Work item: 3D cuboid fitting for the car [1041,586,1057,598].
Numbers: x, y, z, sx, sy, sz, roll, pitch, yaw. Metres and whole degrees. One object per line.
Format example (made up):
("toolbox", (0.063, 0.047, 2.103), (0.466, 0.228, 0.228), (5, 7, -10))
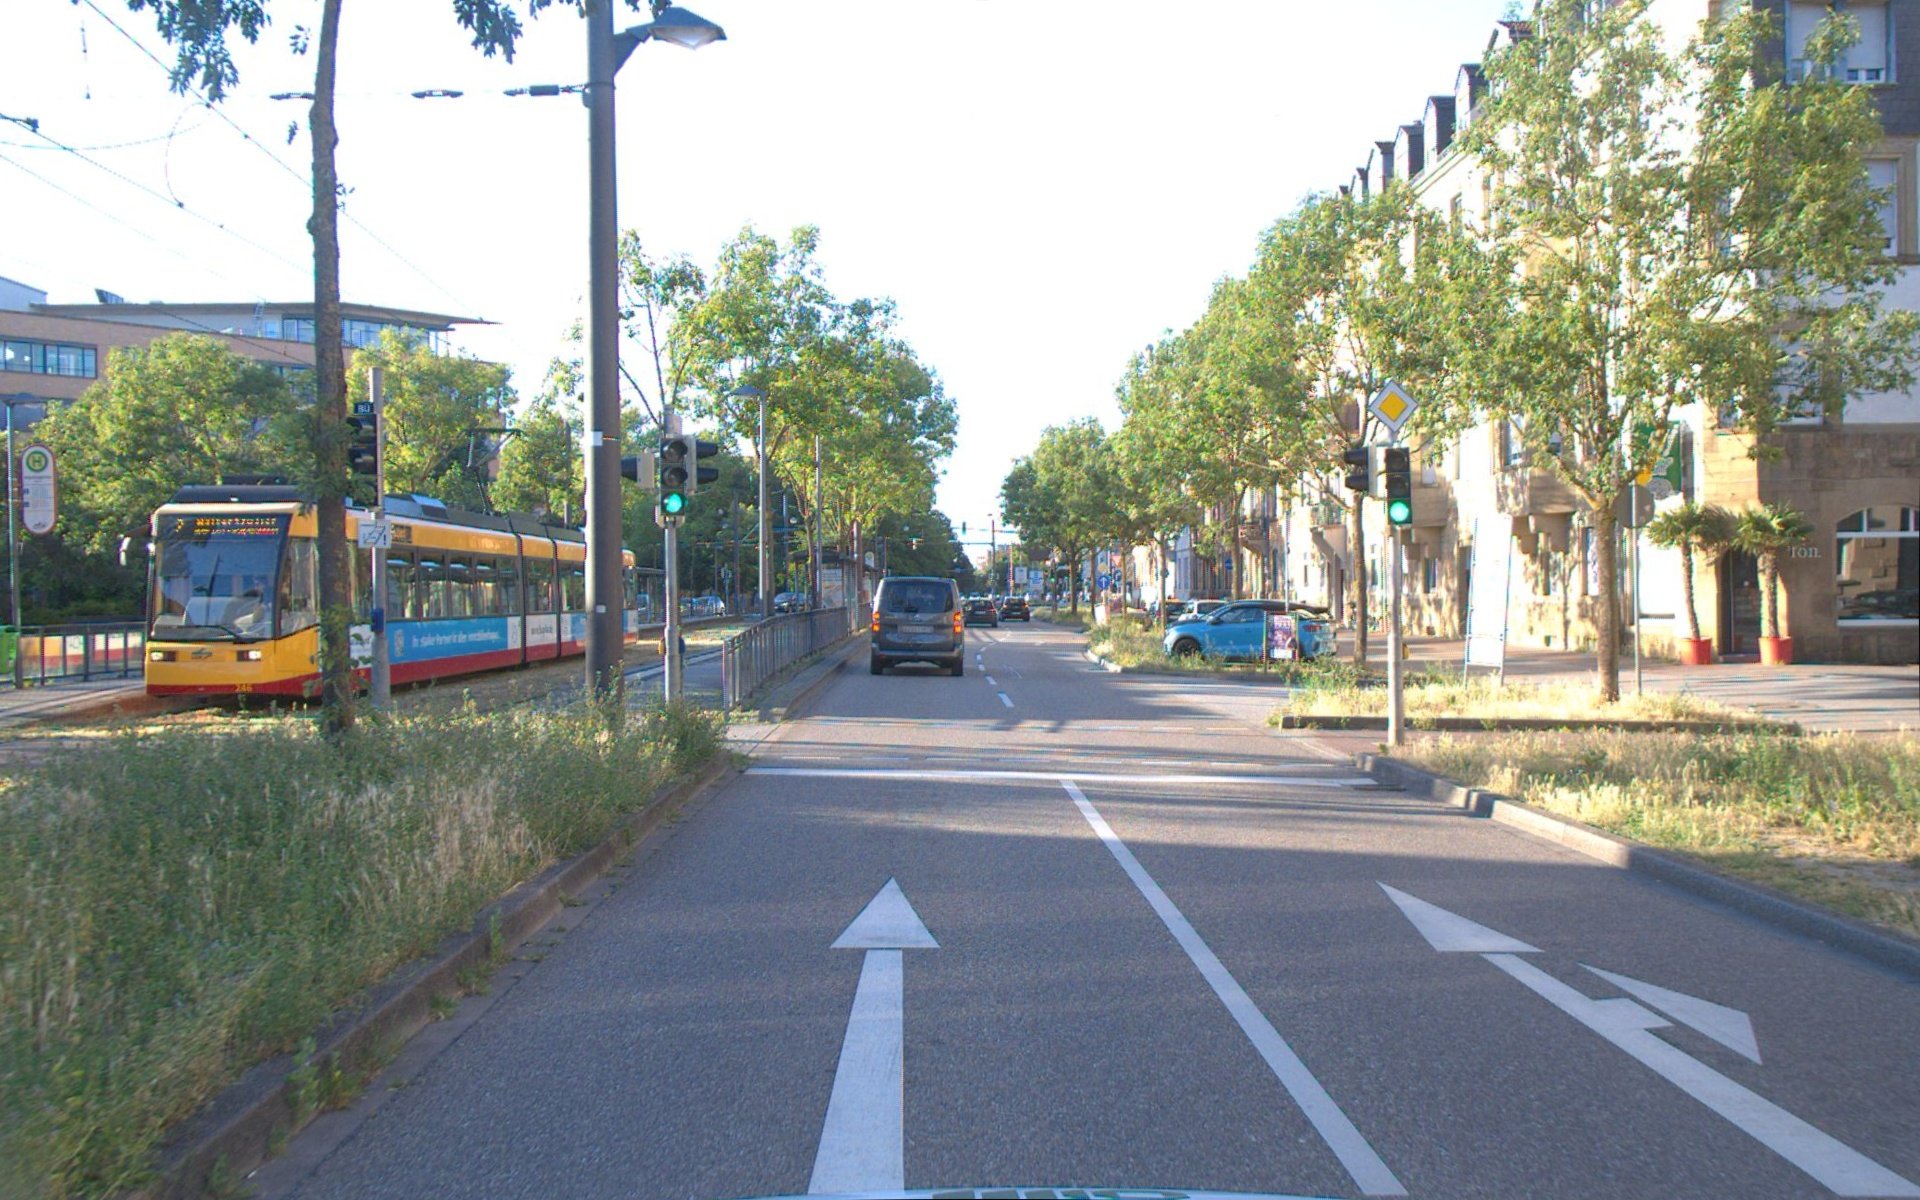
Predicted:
("car", (13.113, -1.131, 244.200), (1.954, 1.685, 4.296), (-1, 0, -3))

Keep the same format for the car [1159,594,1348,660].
("car", (7.170, 0.629, 40.536), (4.196, 1.548, 1.843), (0, 0, 32))

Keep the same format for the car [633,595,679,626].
("car", (-16.952, 0.556, 92.376), (1.821, 1.683, 3.999), (-1, 0, -1))

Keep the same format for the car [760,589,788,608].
("car", (-14.152, -0.116, 126.226), (1.758, 1.440, 4.340), (1, 0, -1))

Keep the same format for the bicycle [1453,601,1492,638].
("bicycle", (15.682, 0.595, 50.614), (0.560, 1.092, 1.896), (-2, 0, -1))

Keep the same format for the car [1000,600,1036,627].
("car", (3.461, 0.779, 99.202), (1.953, 1.537, 3.999), (0, 0, -1))

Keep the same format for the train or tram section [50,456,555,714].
("train or tram section", (-10.817, -0.216, 30.105), (3.361, 3.490, 15.024), (-1, 0, -1))

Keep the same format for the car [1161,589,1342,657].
("car", (7.578, 0.567, 43.066), (4.245, 1.599, 1.999), (1, 1, 29))

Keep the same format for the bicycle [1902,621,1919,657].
("bicycle", (20.997, 0.827, 35.291), (1.510, 0.748, 0.531), (0, 1, -1))

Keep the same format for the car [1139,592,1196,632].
("car", (8.207, 0.437, 65.650), (1.669, 1.474, 4.288), (2, 0, 0))

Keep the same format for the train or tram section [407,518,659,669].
("train or tram section", (-10.976, -0.170, 44.560), (3.361, 3.398, 13.855), (-1, 0, -1))

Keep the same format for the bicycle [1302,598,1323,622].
("bicycle", (15.218, 0.415, 71.422), (0.473, 1.023, 1.746), (-1, 0, -1))

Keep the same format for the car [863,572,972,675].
("car", (-0.788, 0.442, 33.574), (1.952, 1.934, 4.300), (1, 0, 2))

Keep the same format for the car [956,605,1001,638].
("car", (0.897, 1.044, 82.191), (1.954, 1.537, 3.997), (0, 0, -4))

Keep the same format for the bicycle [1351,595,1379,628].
("bicycle", (15.396, 0.433, 62.902), (0.473, 1.185, 1.746), (-6, 0, -1))

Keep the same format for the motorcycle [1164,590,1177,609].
("motorcycle", (14.208, -0.031, 111.583), (0.542, 1.235, 2.071), (1, 0, -2))

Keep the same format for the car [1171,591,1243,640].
("car", (8.351, 0.506, 56.187), (1.691, 1.538, 4.271), (2, 0, -1))
